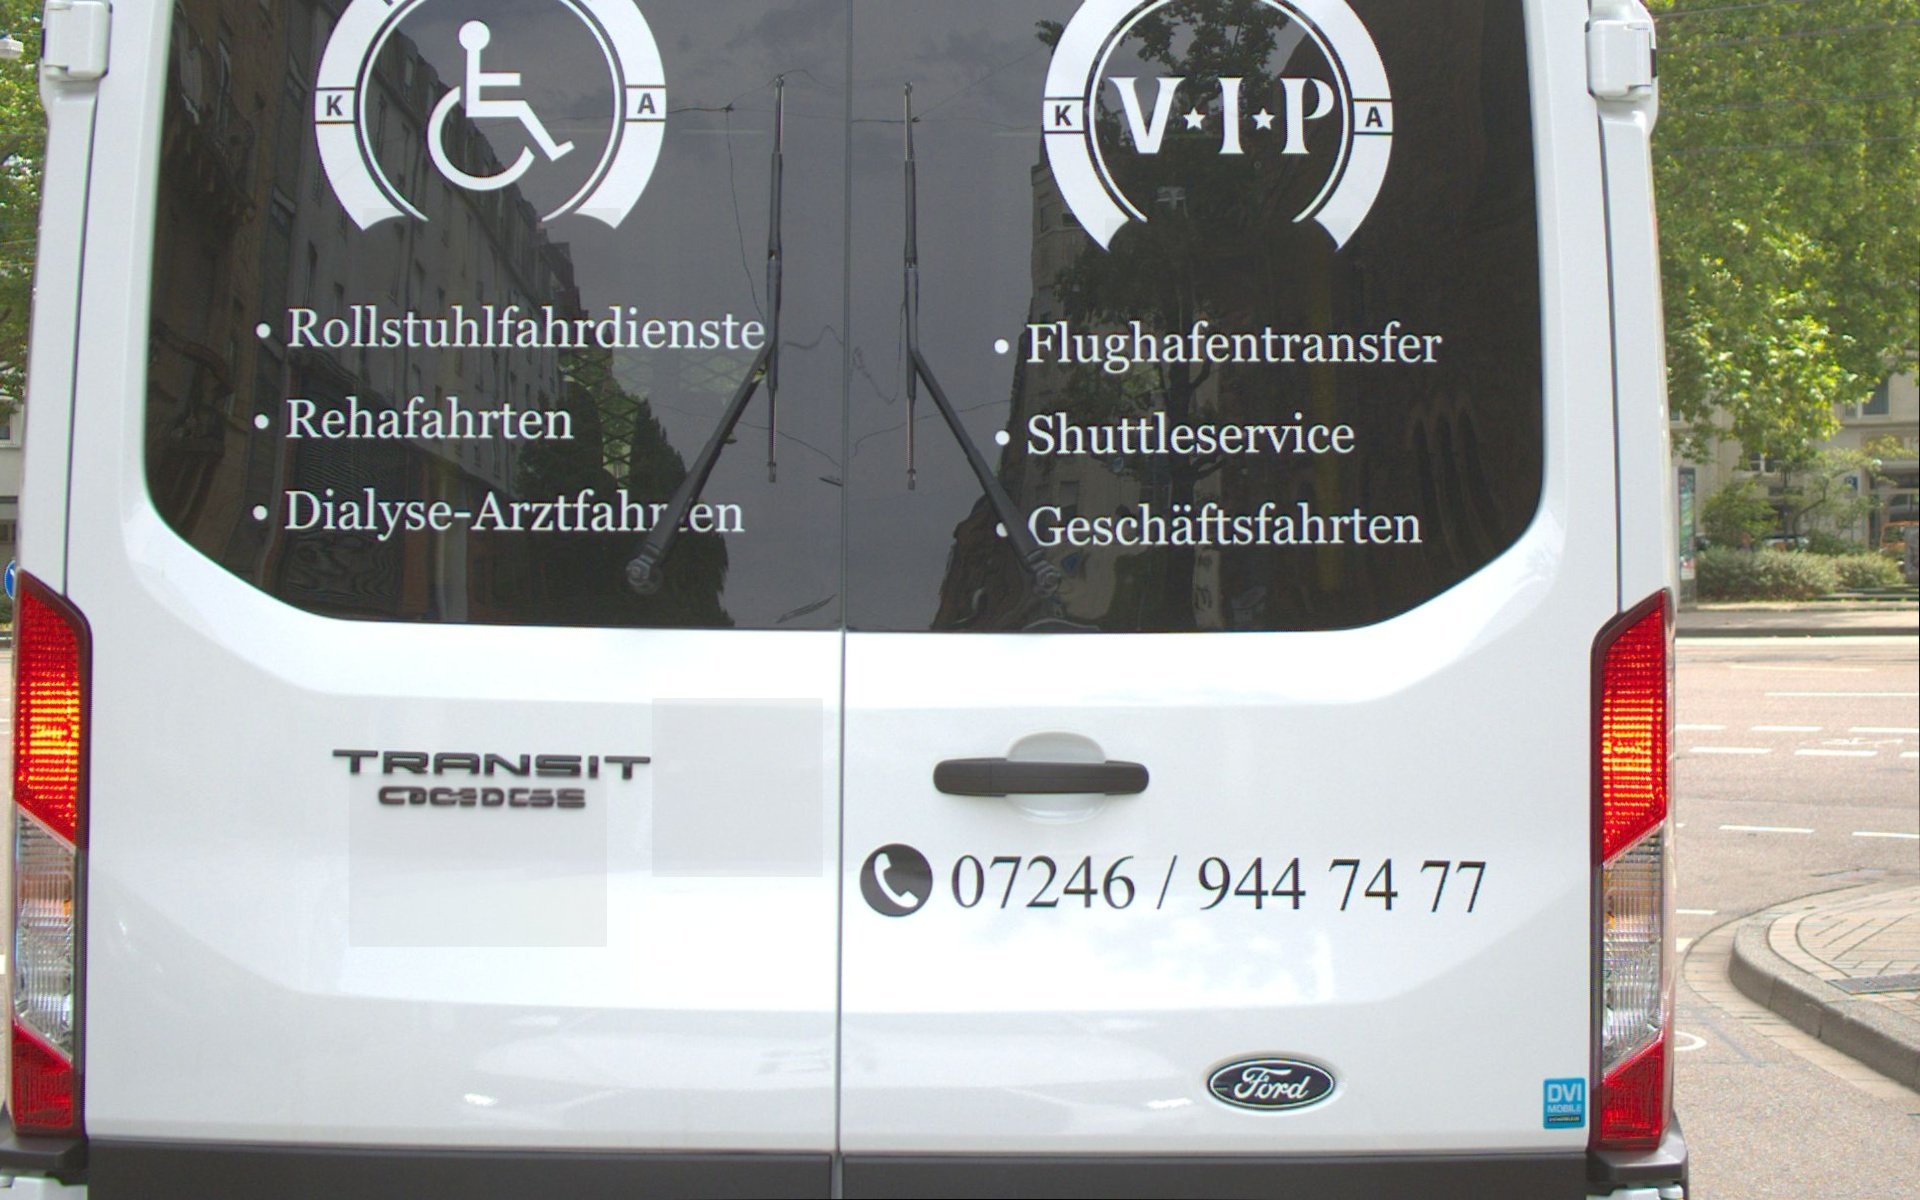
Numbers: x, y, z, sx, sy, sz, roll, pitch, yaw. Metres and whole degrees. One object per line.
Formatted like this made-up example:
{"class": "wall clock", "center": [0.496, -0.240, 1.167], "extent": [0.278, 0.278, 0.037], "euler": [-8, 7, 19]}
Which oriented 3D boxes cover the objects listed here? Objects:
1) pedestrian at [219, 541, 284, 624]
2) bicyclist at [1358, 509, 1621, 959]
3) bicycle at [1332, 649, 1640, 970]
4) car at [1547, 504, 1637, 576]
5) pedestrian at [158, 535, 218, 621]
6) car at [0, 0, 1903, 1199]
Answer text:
{"class": "pedestrian", "center": [-12.991, -0.326, 63.070], "extent": [0.930, 1.509, 0.723], "euler": [0, 1, 14]}
{"class": "bicyclist", "center": [2.059, 0.493, 13.297], "extent": [0.904, 1.677, 0.756], "euler": [0, 1, 16]}
{"class": "bicycle", "center": [2.078, 0.764, 13.349], "extent": [0.903, 1.071, 1.968], "euler": [0, 1, 17]}
{"class": "car", "center": [17.442, -1.667, 95.009], "extent": [1.994, 1.924, 4.000], "euler": [-1, 1, 4]}
{"class": "pedestrian", "center": [-14.197, -0.406, 63.248], "extent": [0.807, 1.567, 0.723], "euler": [0, 1, 14]}
{"class": "car", "center": [-0.217, 0.056, 5.803], "extent": [2.181, 2.638, 4.629], "euler": [1, 2, -2]}
